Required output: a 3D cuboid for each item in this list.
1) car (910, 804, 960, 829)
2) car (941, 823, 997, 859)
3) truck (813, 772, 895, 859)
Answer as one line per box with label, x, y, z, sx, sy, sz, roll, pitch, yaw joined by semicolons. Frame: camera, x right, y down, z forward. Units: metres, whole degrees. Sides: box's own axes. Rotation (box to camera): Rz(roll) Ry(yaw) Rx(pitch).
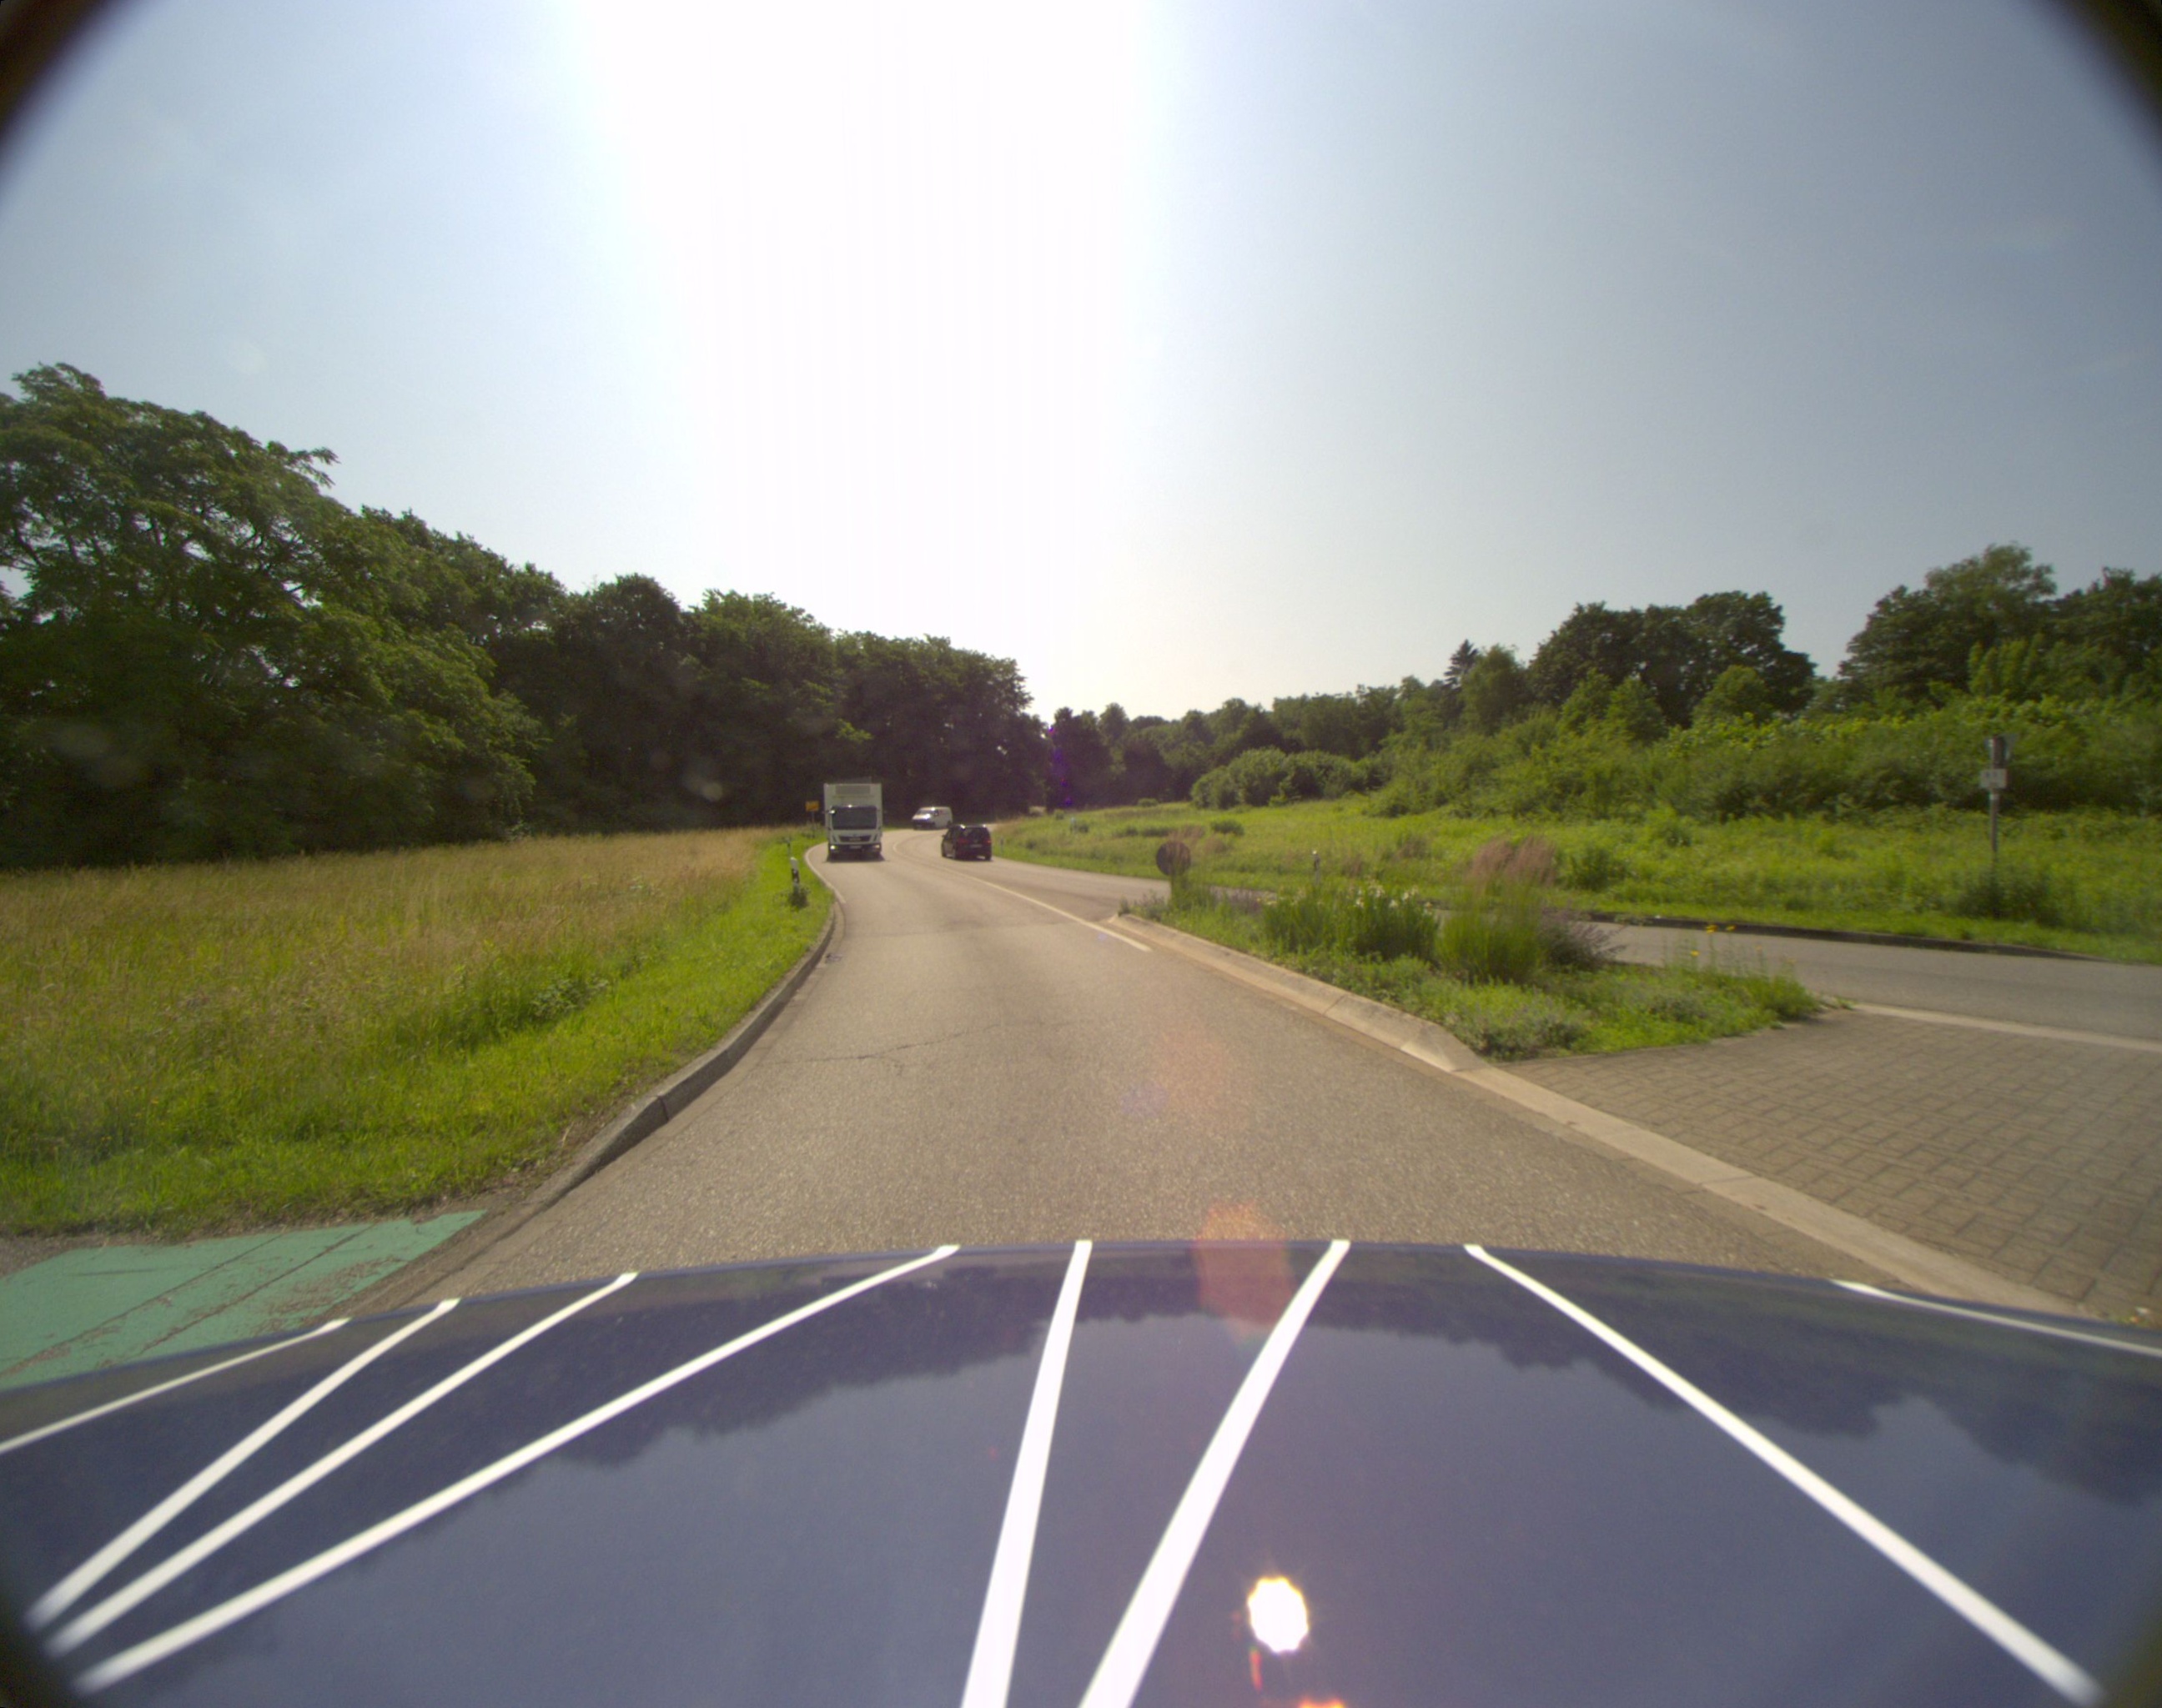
car;-13.138;-3.410;68.663;1.996;2.003;5.606;-2;3;16
car;-5.434;-0.632;36.381;1.914;1.586;4.366;-1;1;-18
truck;-11.587;-1.881;38.158;2.903;3.808;9.004;-3;3;-22
